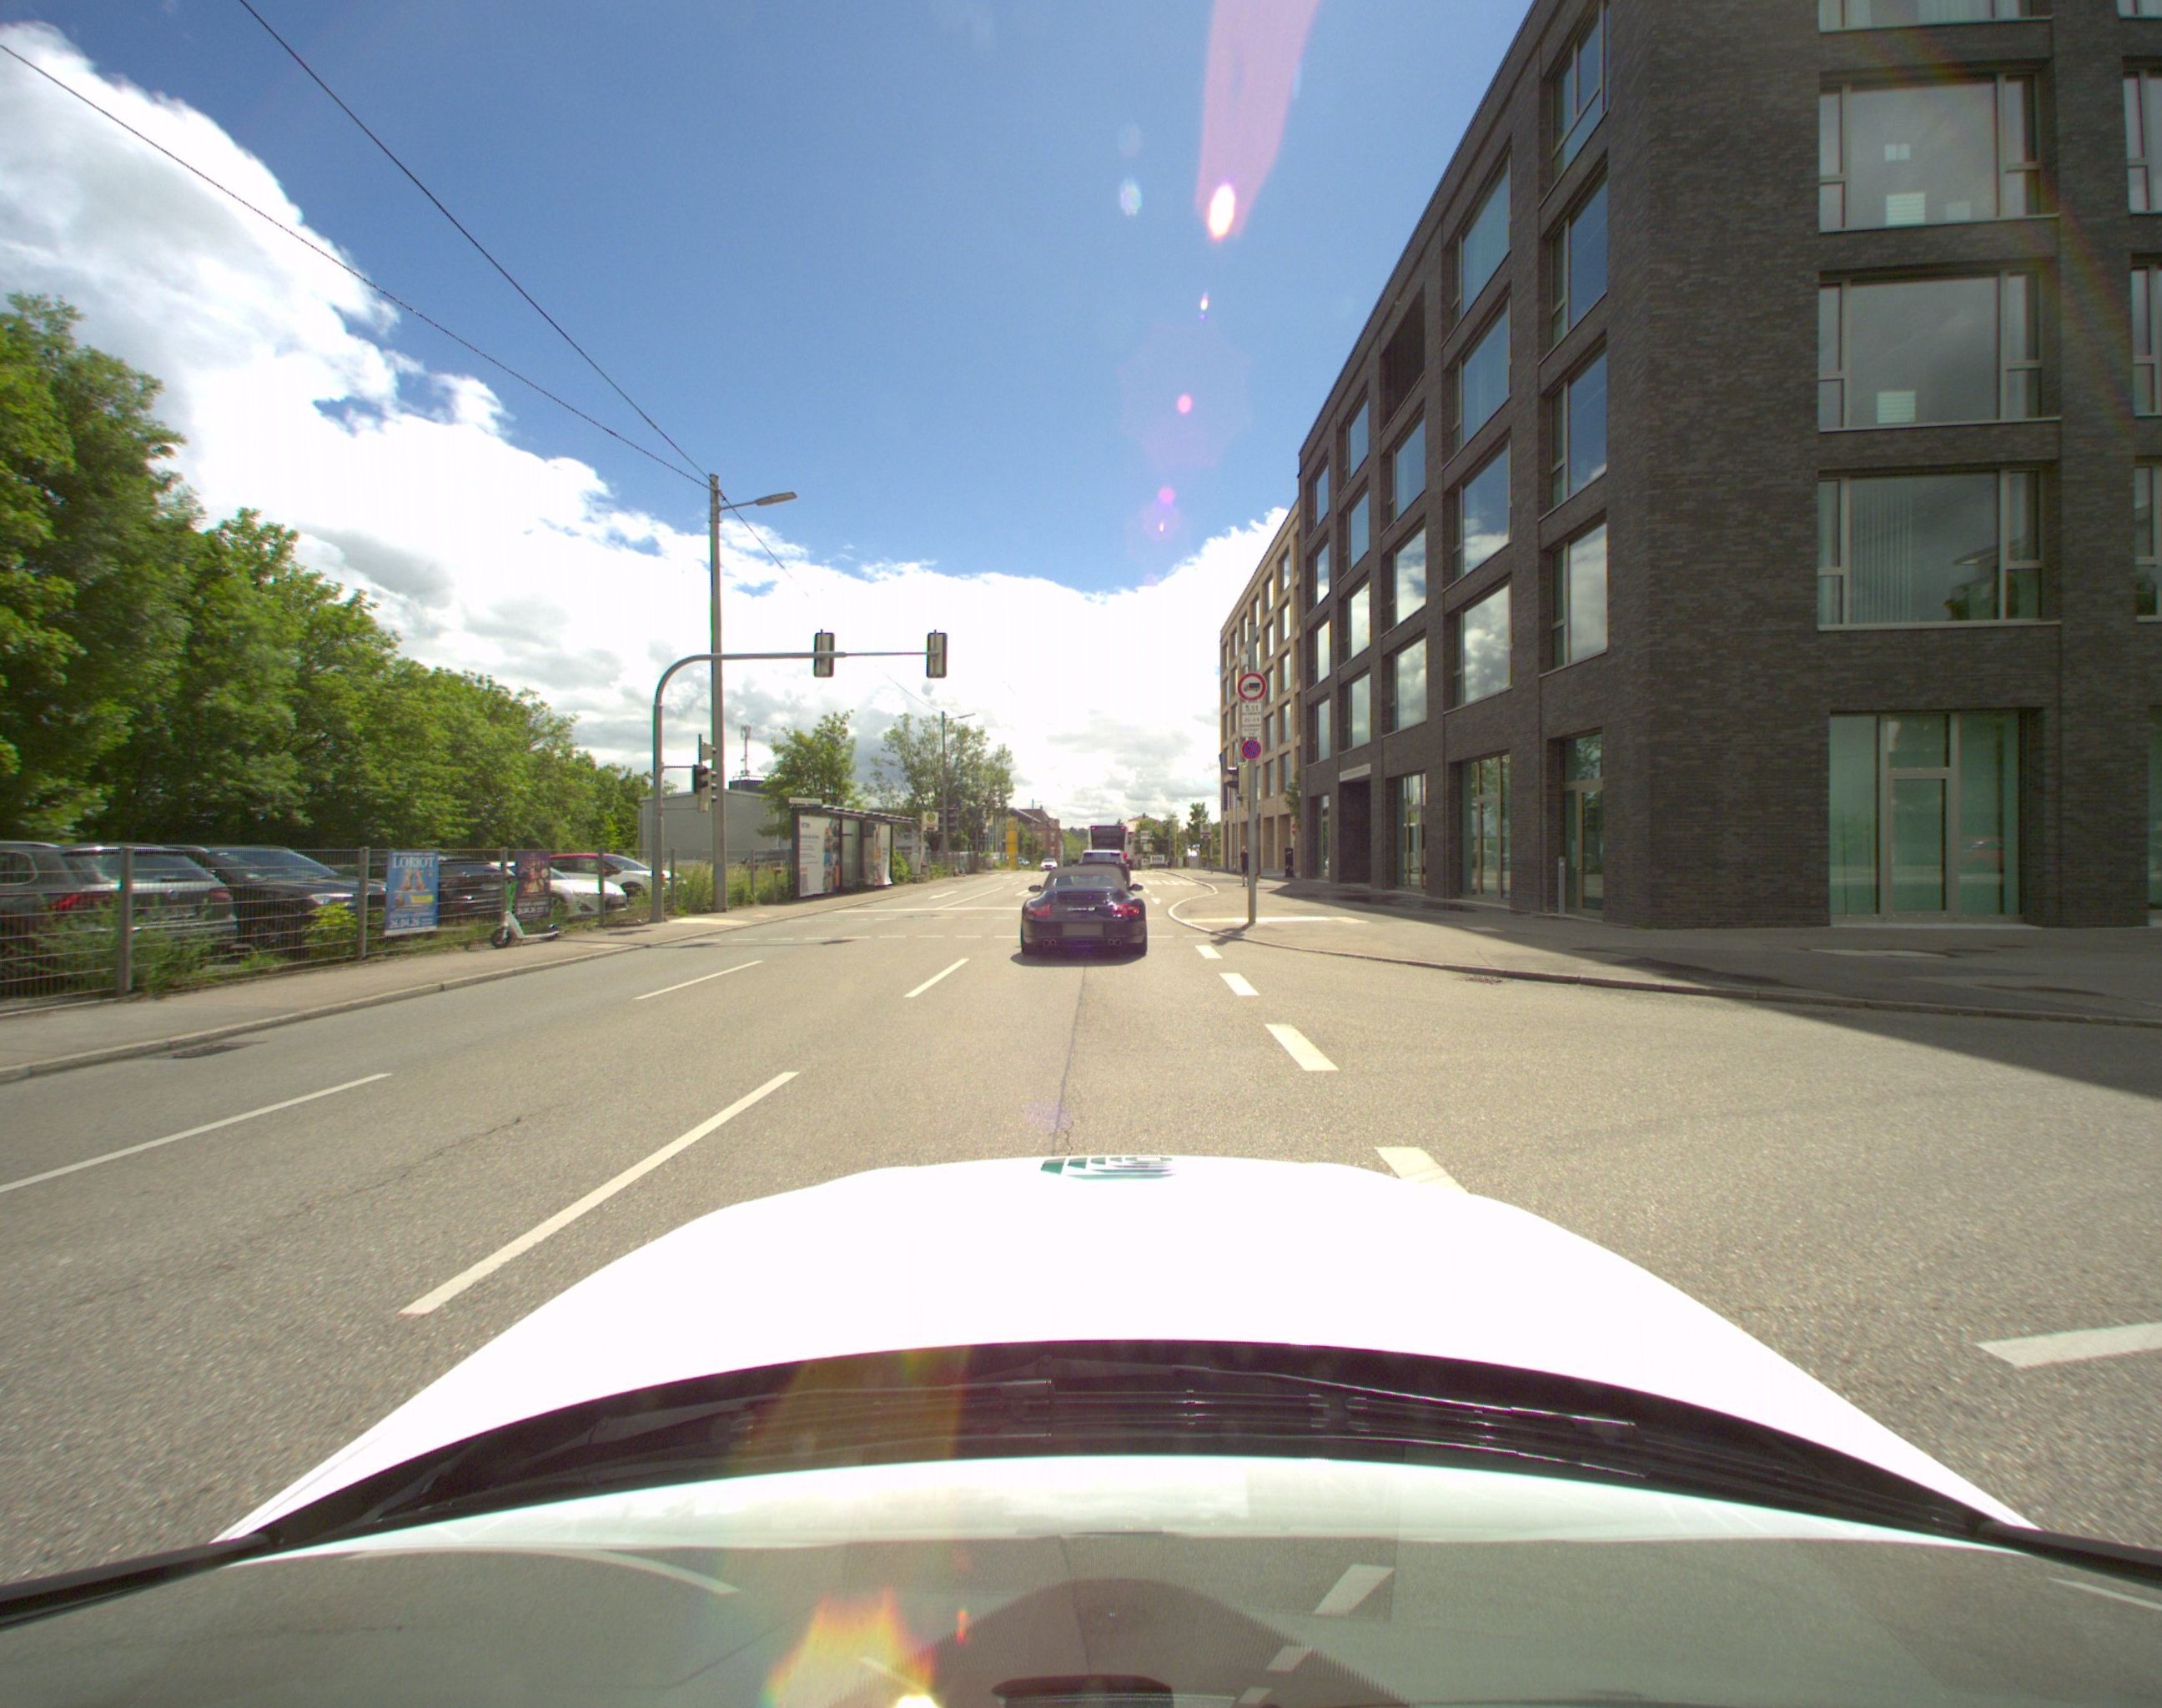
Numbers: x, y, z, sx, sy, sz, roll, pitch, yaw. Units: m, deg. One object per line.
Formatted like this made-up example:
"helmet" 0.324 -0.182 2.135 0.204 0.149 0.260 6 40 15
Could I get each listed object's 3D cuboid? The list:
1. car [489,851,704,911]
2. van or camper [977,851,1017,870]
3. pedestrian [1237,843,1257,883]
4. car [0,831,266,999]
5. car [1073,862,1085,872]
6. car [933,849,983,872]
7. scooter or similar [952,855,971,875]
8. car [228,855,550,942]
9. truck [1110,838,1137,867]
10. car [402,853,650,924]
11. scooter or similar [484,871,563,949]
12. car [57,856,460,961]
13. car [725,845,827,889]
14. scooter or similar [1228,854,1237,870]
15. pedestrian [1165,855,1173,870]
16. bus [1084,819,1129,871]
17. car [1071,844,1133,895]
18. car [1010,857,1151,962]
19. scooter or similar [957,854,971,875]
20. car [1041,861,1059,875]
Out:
"car" -12.304 0.662 20.875 4.293 1.419 2.026 -1 0 3
"van or camper" -11.314 0.879 110.071 5.010 2.531 2.318 0 0 0
"pedestrian" 7.230 0.379 35.573 0.680 1.728 0.962 0 0 1
"car" -12.515 0.657 9.366 4.093 1.734 1.998 -1 0 -3
"car" -0.346 2.032 126.791 1.824 1.509 4.275 -1 -1 0
"car" -11.054 0.605 73.242 4.148 2.013 2.198 0 0 -2
"scooter or similar" -7.386 0.674 50.341 0.530 1.262 1.478 1 0 19
"car" -12.425 0.751 14.873 4.091 1.419 1.999 -1 0 -2
"truck" 4.737 -0.178 91.181 2.704 3.054 7.715 -1 0 1
"car" -12.008 0.719 17.827 4.087 1.419 1.917 -1 0 2
"scooter or similar" -9.205 0.899 13.478 0.421 1.210 1.128 1 0 6
"car" -12.341 0.768 12.462 4.088 1.419 2.000 -1 0 0
"car" -14.991 0.628 40.268 4.271 2.014 2.136 -1 -1 -6
"scooter or similar" 11.232 0.599 60.248 0.425 1.153 1.404 -1 0 1
"pedestrian" 9.075 0.861 84.024 0.685 1.536 0.856 -1 -1 1
"bus" 1.874 -0.597 56.572 2.790 3.198 12.205 0 0 3
"car" 0.630 0.481 27.585 1.925 1.583 4.206 0 0 -1
"car" 0.086 0.771 13.240 1.923 1.376 4.210 0 0 2
"scooter or similar" -7.436 0.662 51.841 0.532 1.266 1.474 1 0 7
"car" -3.430 1.513 91.144 1.790 1.376 4.226 -2 0 1
